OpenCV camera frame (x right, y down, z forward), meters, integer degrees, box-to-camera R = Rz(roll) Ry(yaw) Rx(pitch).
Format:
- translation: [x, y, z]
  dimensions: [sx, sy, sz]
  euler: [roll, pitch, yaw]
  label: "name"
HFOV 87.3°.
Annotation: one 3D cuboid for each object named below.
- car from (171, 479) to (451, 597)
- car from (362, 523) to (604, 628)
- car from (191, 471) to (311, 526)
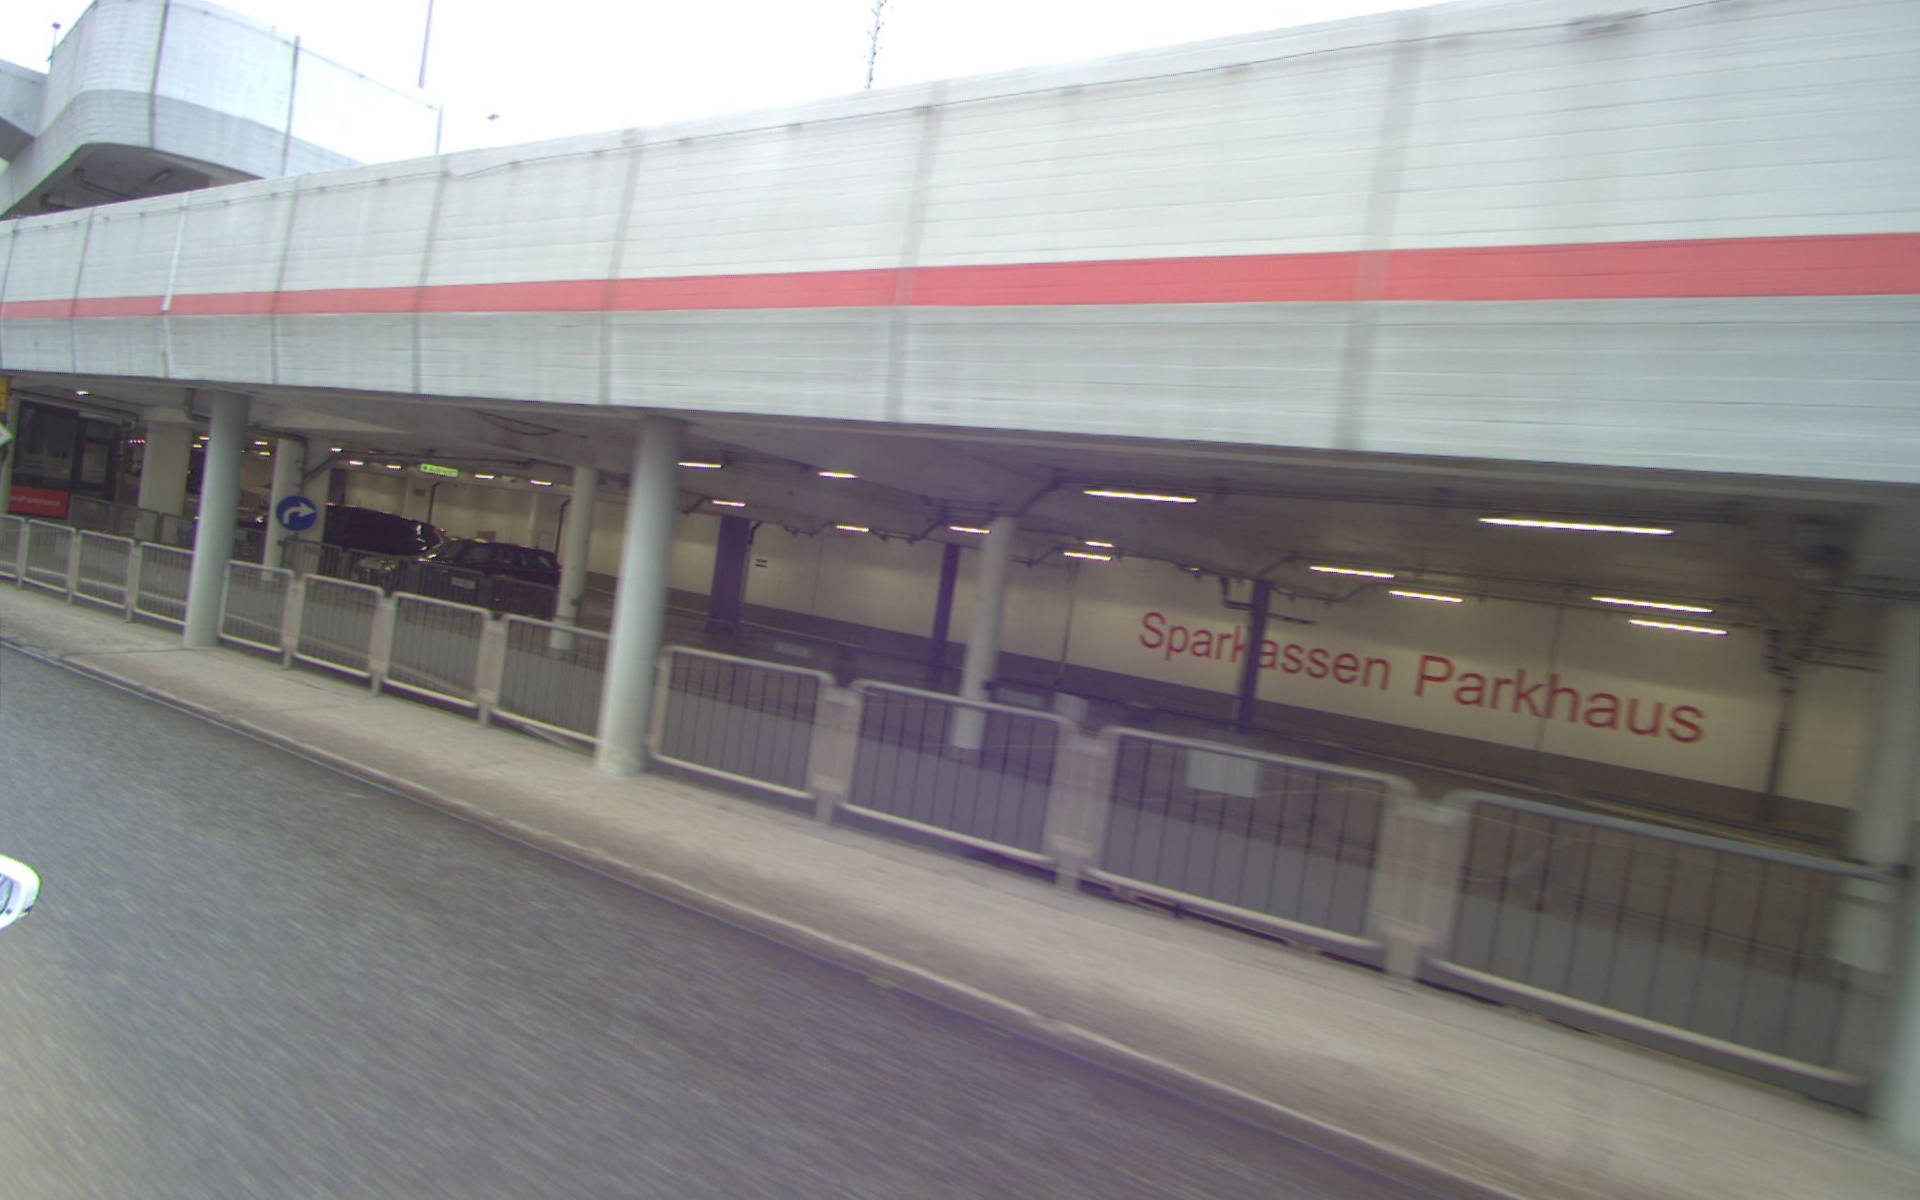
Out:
- translation: [-13.575, -1.233, 21.253]
  dimensions: [1.798, 1.658, 4.569]
  euler: [6, -3, 44]
  label: "car"
- translation: [-9.055, -0.431, 19.298]
  dimensions: [1.781, 1.524, 3.717]
  euler: [8, 1, 40]
  label: "car"
- translation: [-32.160, -4.576, 45.696]
  dimensions: [1.973, 1.658, 3.984]
  euler: [6, -3, 42]
  label: "car"
